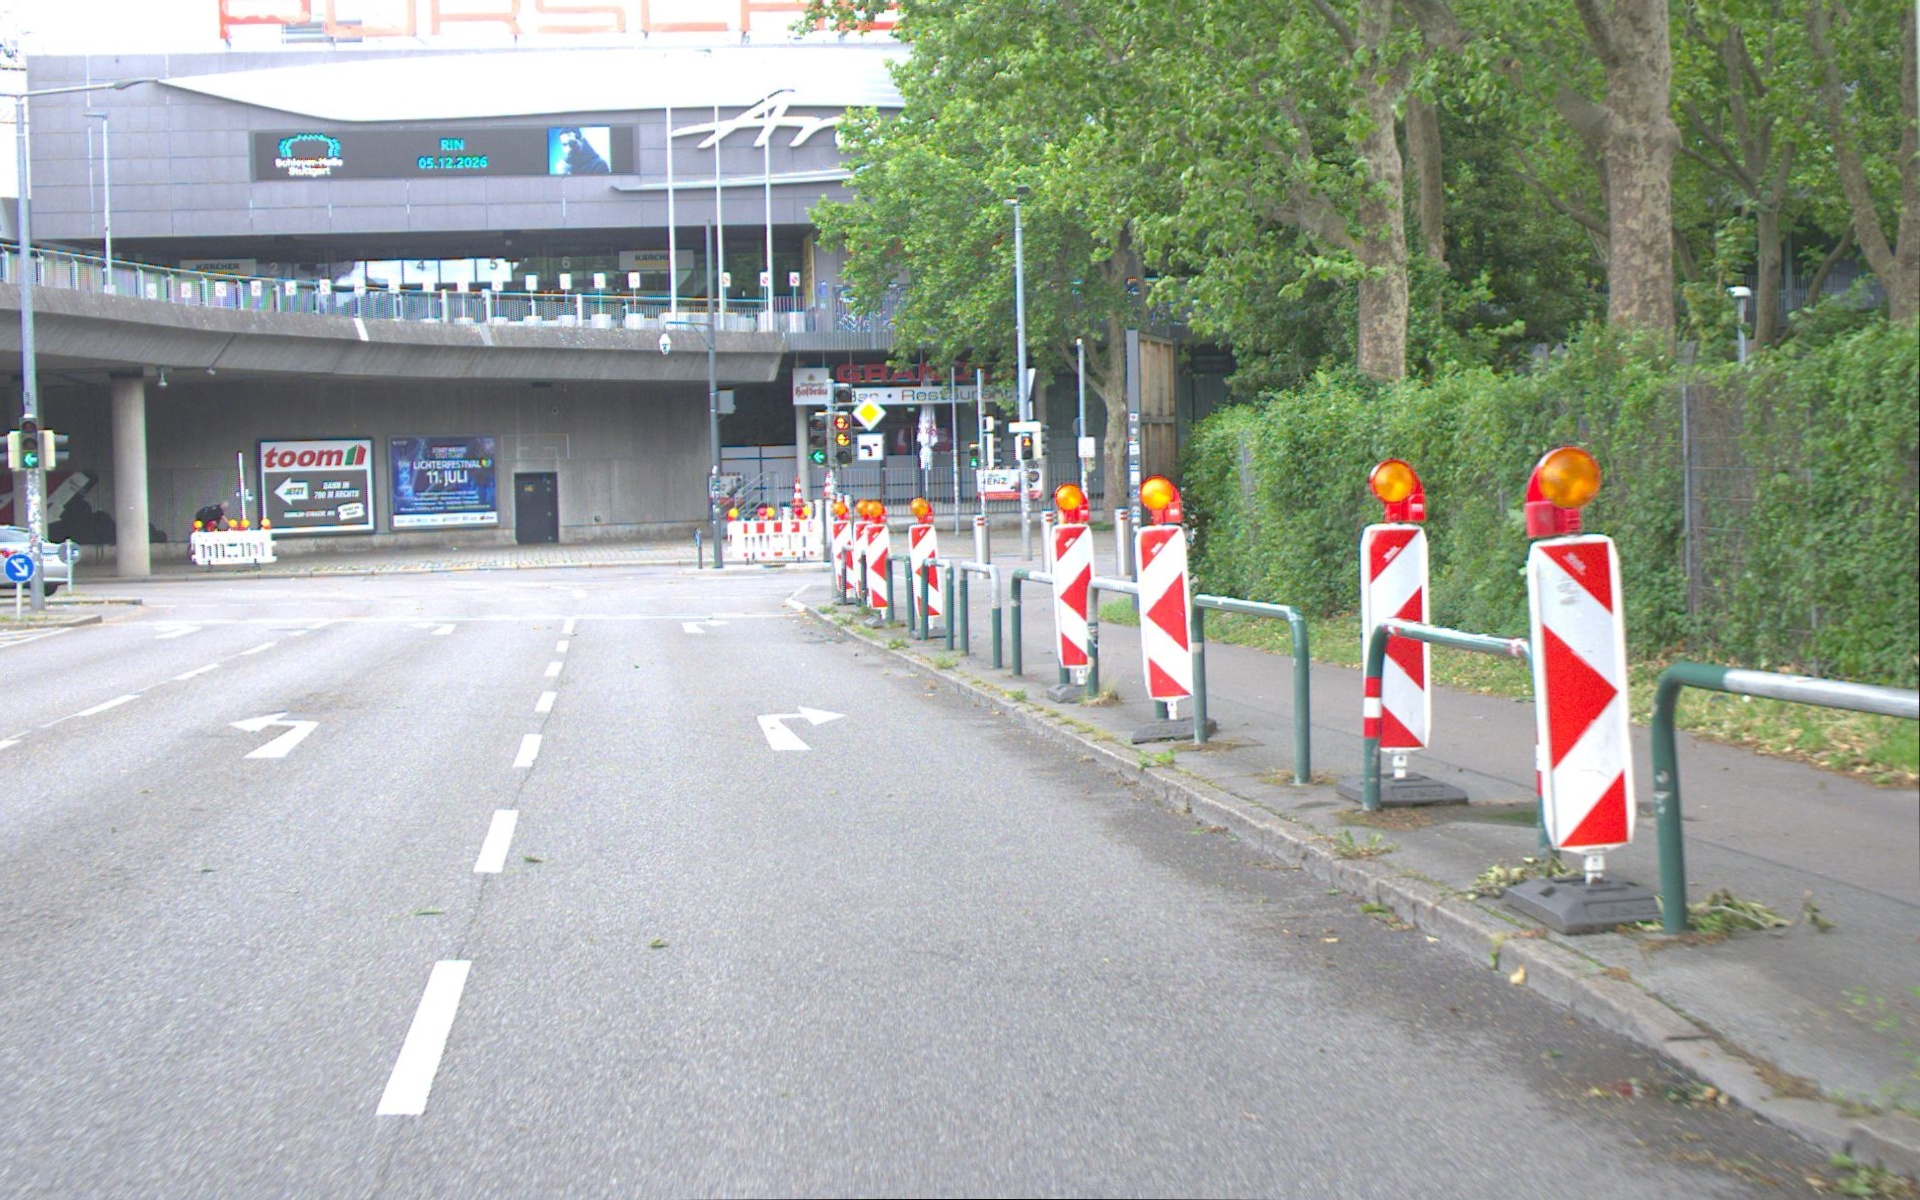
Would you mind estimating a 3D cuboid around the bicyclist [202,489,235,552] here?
[{"bbox_3d":[-19.946,-2.129,92.488,0.851,1.692,0.767,0,1,-9],"label":"bicyclist"}]

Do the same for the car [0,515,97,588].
[{"bbox_3d":[-19.545,-0.982,69.484,3.995,1.414,1.996,0,2,37],"label":"car"}]
